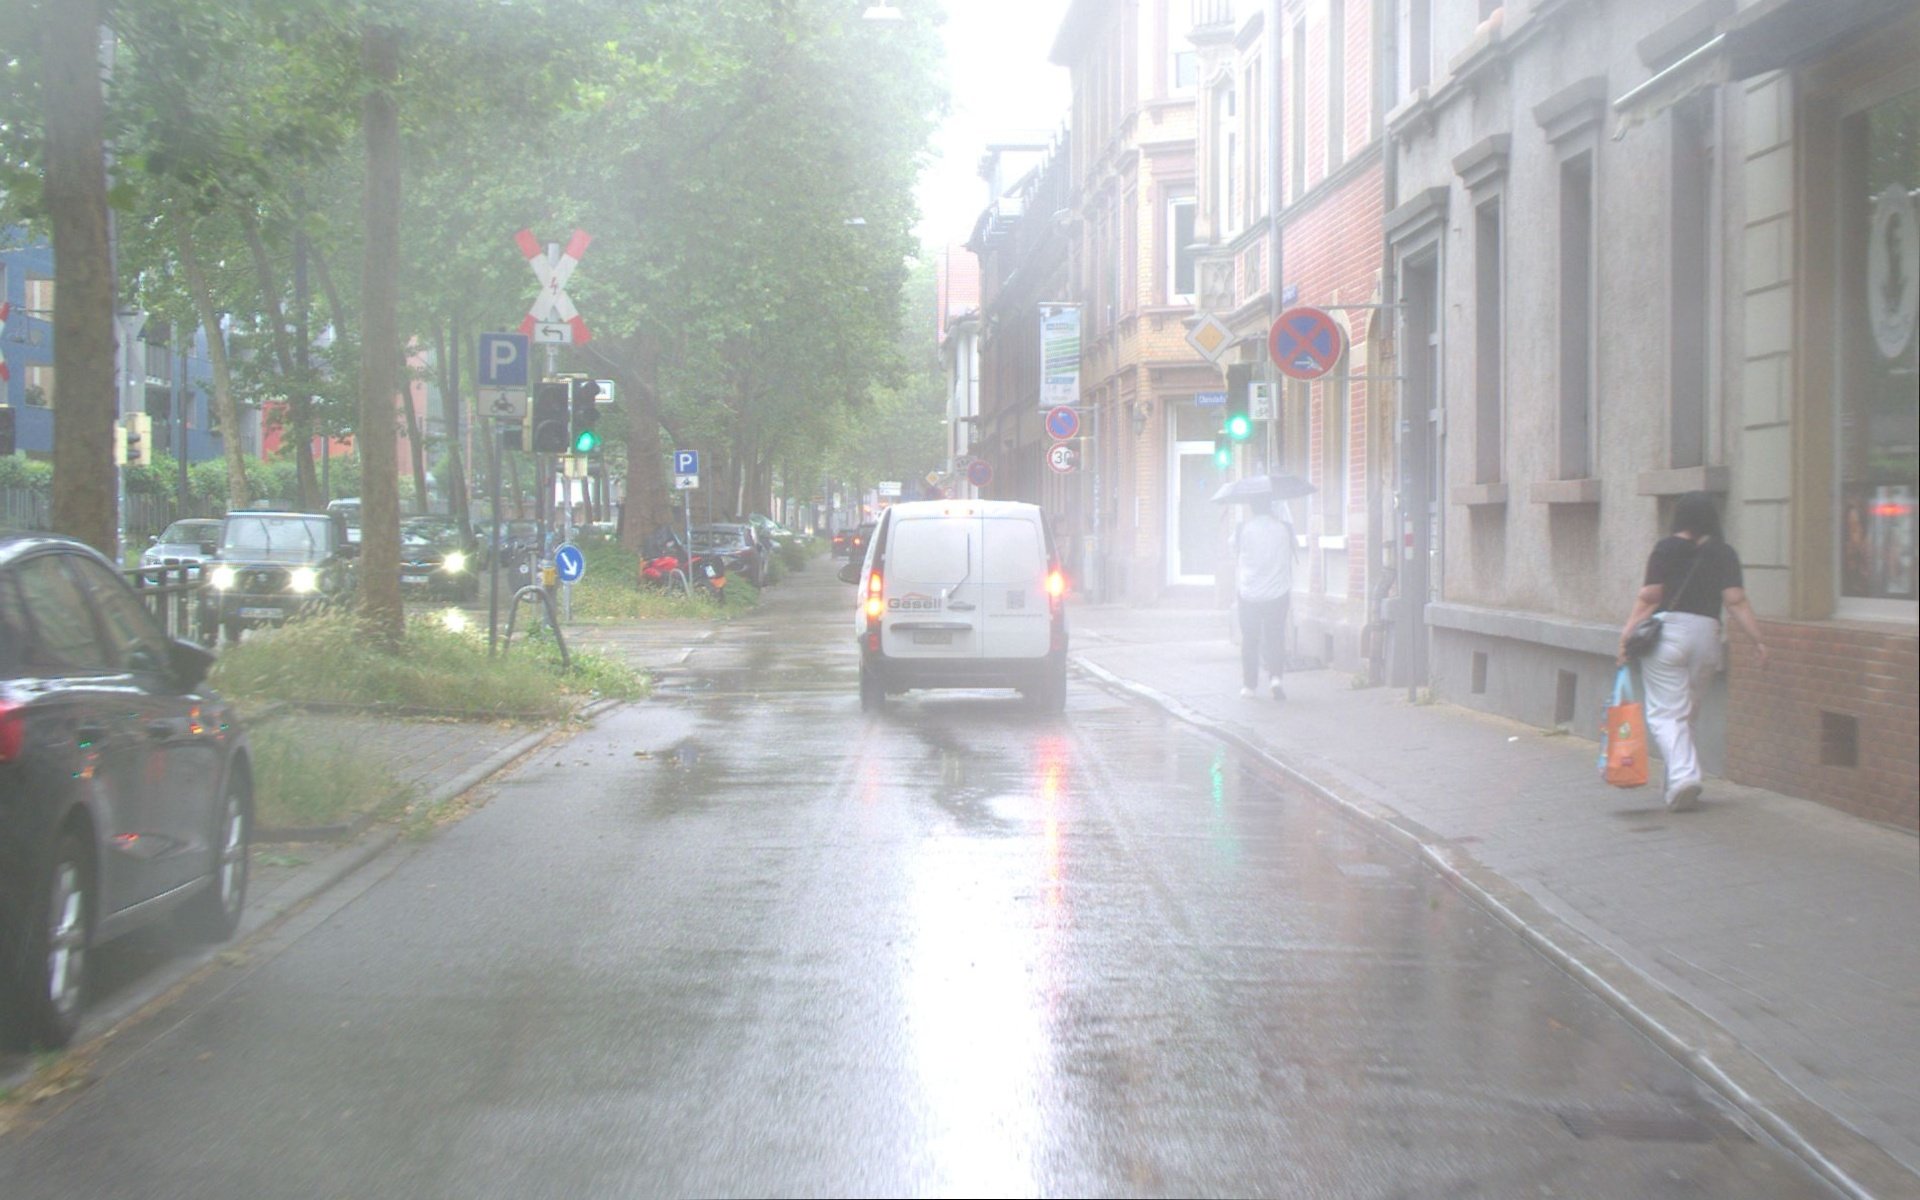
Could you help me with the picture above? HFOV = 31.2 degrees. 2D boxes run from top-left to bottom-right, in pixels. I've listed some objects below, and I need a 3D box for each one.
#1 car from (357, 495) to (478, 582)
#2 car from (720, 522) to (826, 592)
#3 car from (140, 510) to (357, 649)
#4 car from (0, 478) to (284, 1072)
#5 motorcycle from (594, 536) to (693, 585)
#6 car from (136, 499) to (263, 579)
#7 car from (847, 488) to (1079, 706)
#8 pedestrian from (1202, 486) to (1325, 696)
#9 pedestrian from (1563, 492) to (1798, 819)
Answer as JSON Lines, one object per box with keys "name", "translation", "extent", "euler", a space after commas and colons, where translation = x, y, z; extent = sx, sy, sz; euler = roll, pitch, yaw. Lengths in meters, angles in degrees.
{"name": "car", "translation": [-10.389, -1.199, 66.048], "extent": [1.997, 1.607, 4.124], "euler": [0, 2, -5]}
{"name": "car", "translation": [-3.845, -0.911, 71.154], "extent": [1.993, 1.382, 4.000], "euler": [1, 2, 0]}
{"name": "car", "translation": [-8.735, -0.293, 42.538], "extent": [1.997, 1.607, 4.001], "euler": [1, 1, -2]}
{"name": "car", "translation": [-3.275, 0.374, 10.576], "extent": [1.648, 1.495, 4.119], "euler": [2, 1, -2]}
{"name": "motorcycle", "translation": [-5.751, -0.714, 62.525], "extent": [1.706, 0.862, 0.577], "euler": [1, 1, 4]}
{"name": "car", "translation": [-14.078, -1.146, 63.815], "extent": [1.993, 1.410, 4.001], "euler": [0, 1, -8]}
{"name": "car", "translation": [-0.013, -0.030, 30.457], "extent": [1.903, 1.791, 4.113], "euler": [0, 0, -1]}
{"name": "pedestrian", "translation": [2.572, -0.089, 29.241], "extent": [0.840, 1.710, 1.108], "euler": [-3, 1, -1]}
{"name": "pedestrian", "translation": [3.502, 0.247, 16.797], "extent": [0.840, 1.506, 1.108], "euler": [-3, 2, -1]}
